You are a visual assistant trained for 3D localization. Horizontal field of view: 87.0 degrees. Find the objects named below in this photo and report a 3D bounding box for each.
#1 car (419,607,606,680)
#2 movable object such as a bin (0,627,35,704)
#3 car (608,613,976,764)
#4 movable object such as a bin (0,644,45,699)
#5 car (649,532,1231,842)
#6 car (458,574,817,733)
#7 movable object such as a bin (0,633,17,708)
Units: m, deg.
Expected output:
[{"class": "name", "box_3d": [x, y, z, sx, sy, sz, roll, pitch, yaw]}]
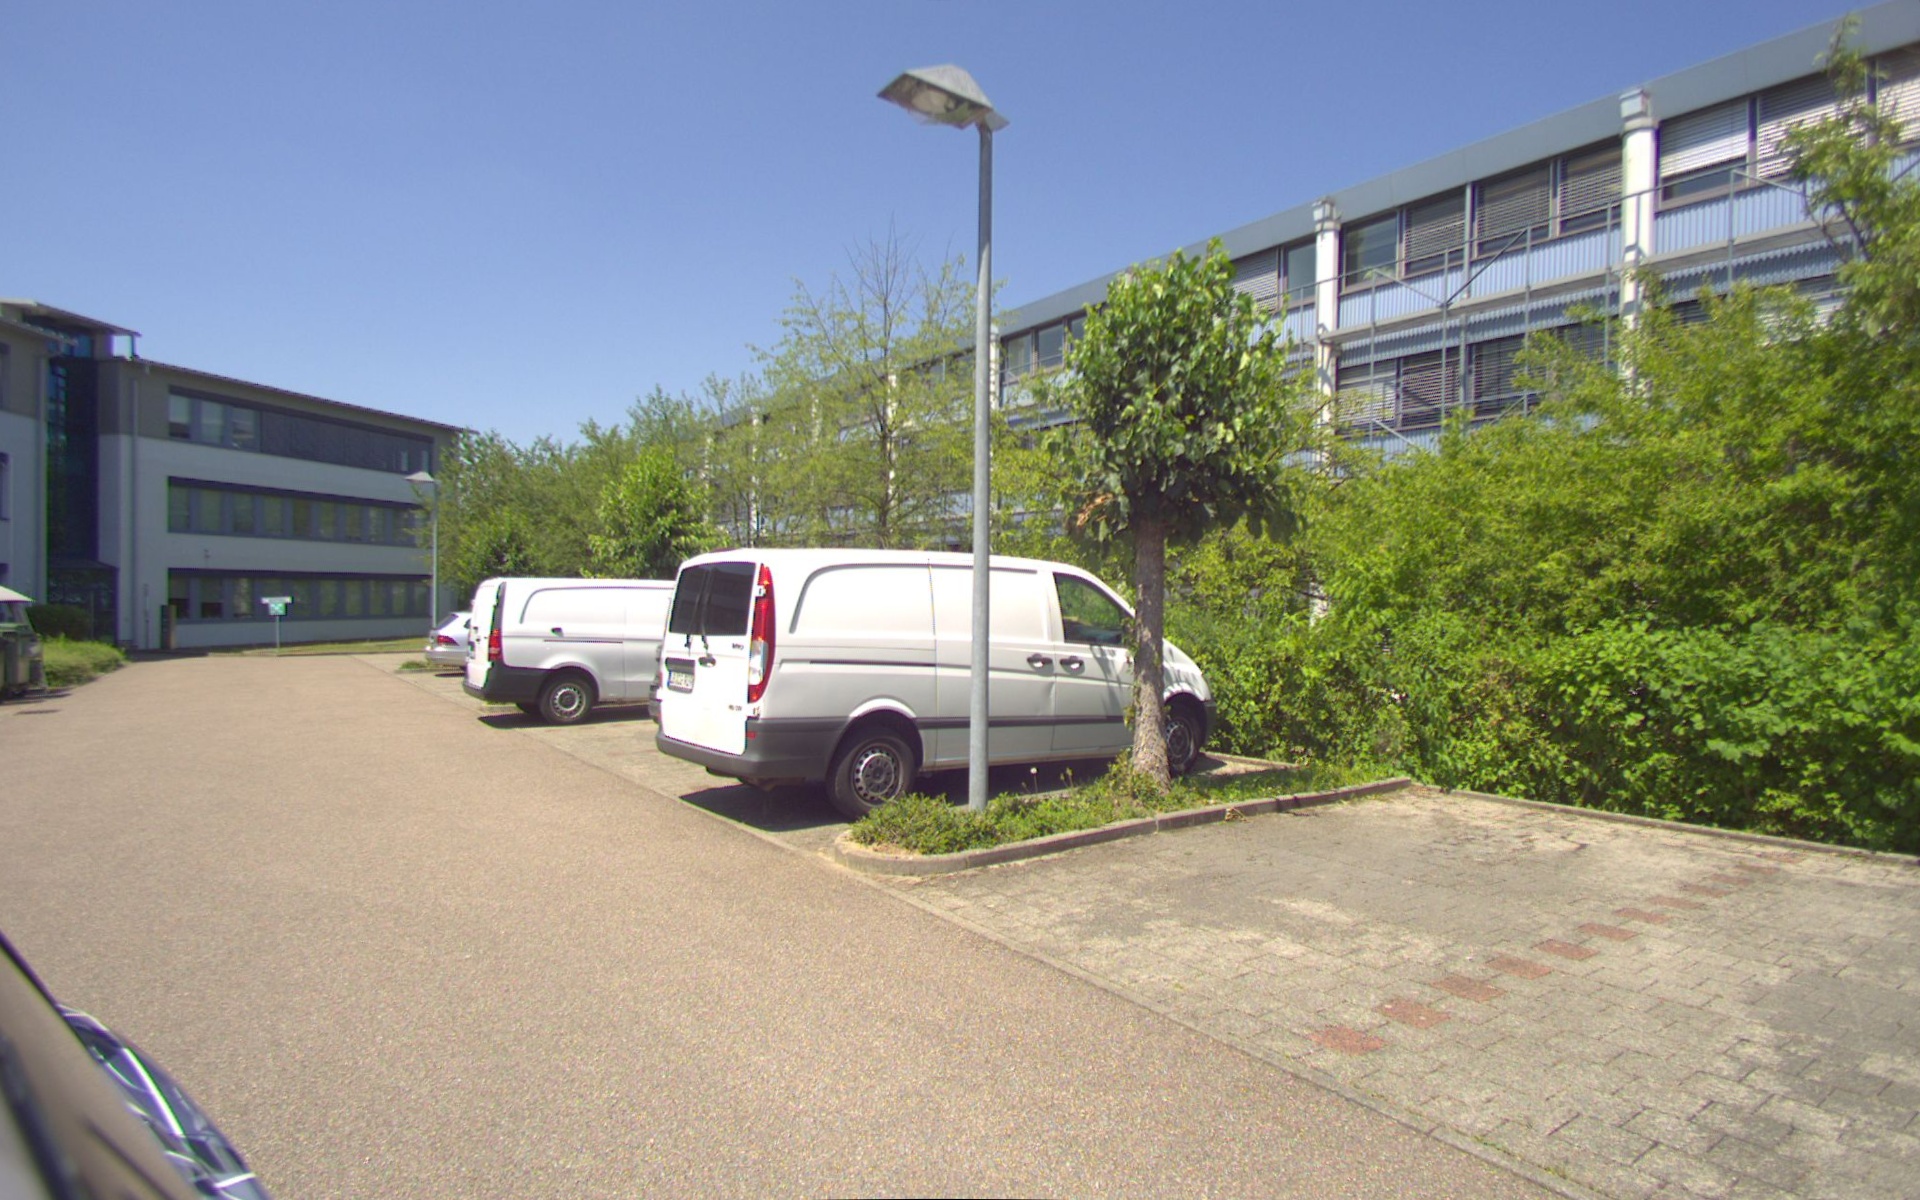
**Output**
[{"class": "car", "box_3d": [-10.362, 0.945, 23.520, 3.704, 1.569, 1.664, 0, -1, -37]}, {"class": "movable object such as a bin", "box_3d": [-16.966, 1.125, 17.422, 1.341, 1.306, 1.046, 0, -1, -31]}, {"class": "car", "box_3d": [-1.796, 0.863, 11.359, 3.789, 1.404, 1.580, 0, -1, -37]}, {"class": "movable object such as a bin", "box_3d": [-17.167, 1.289, 18.377, 0.679, 0.956, 0.724, 0, -1, -31]}, {"class": "car", "box_3d": [0.024, 0.551, 8.413, 4.658, 1.920, 1.833, 0, -1, -37]}, {"class": "car", "box_3d": [-4.416, 0.651, 14.189, 4.447, 1.896, 1.833, 0, -1, -37]}, {"class": "movable object such as a bin", "box_3d": [-16.426, 1.162, 16.499, 1.341, 1.198, 1.000, 0, -1, -31]}]
